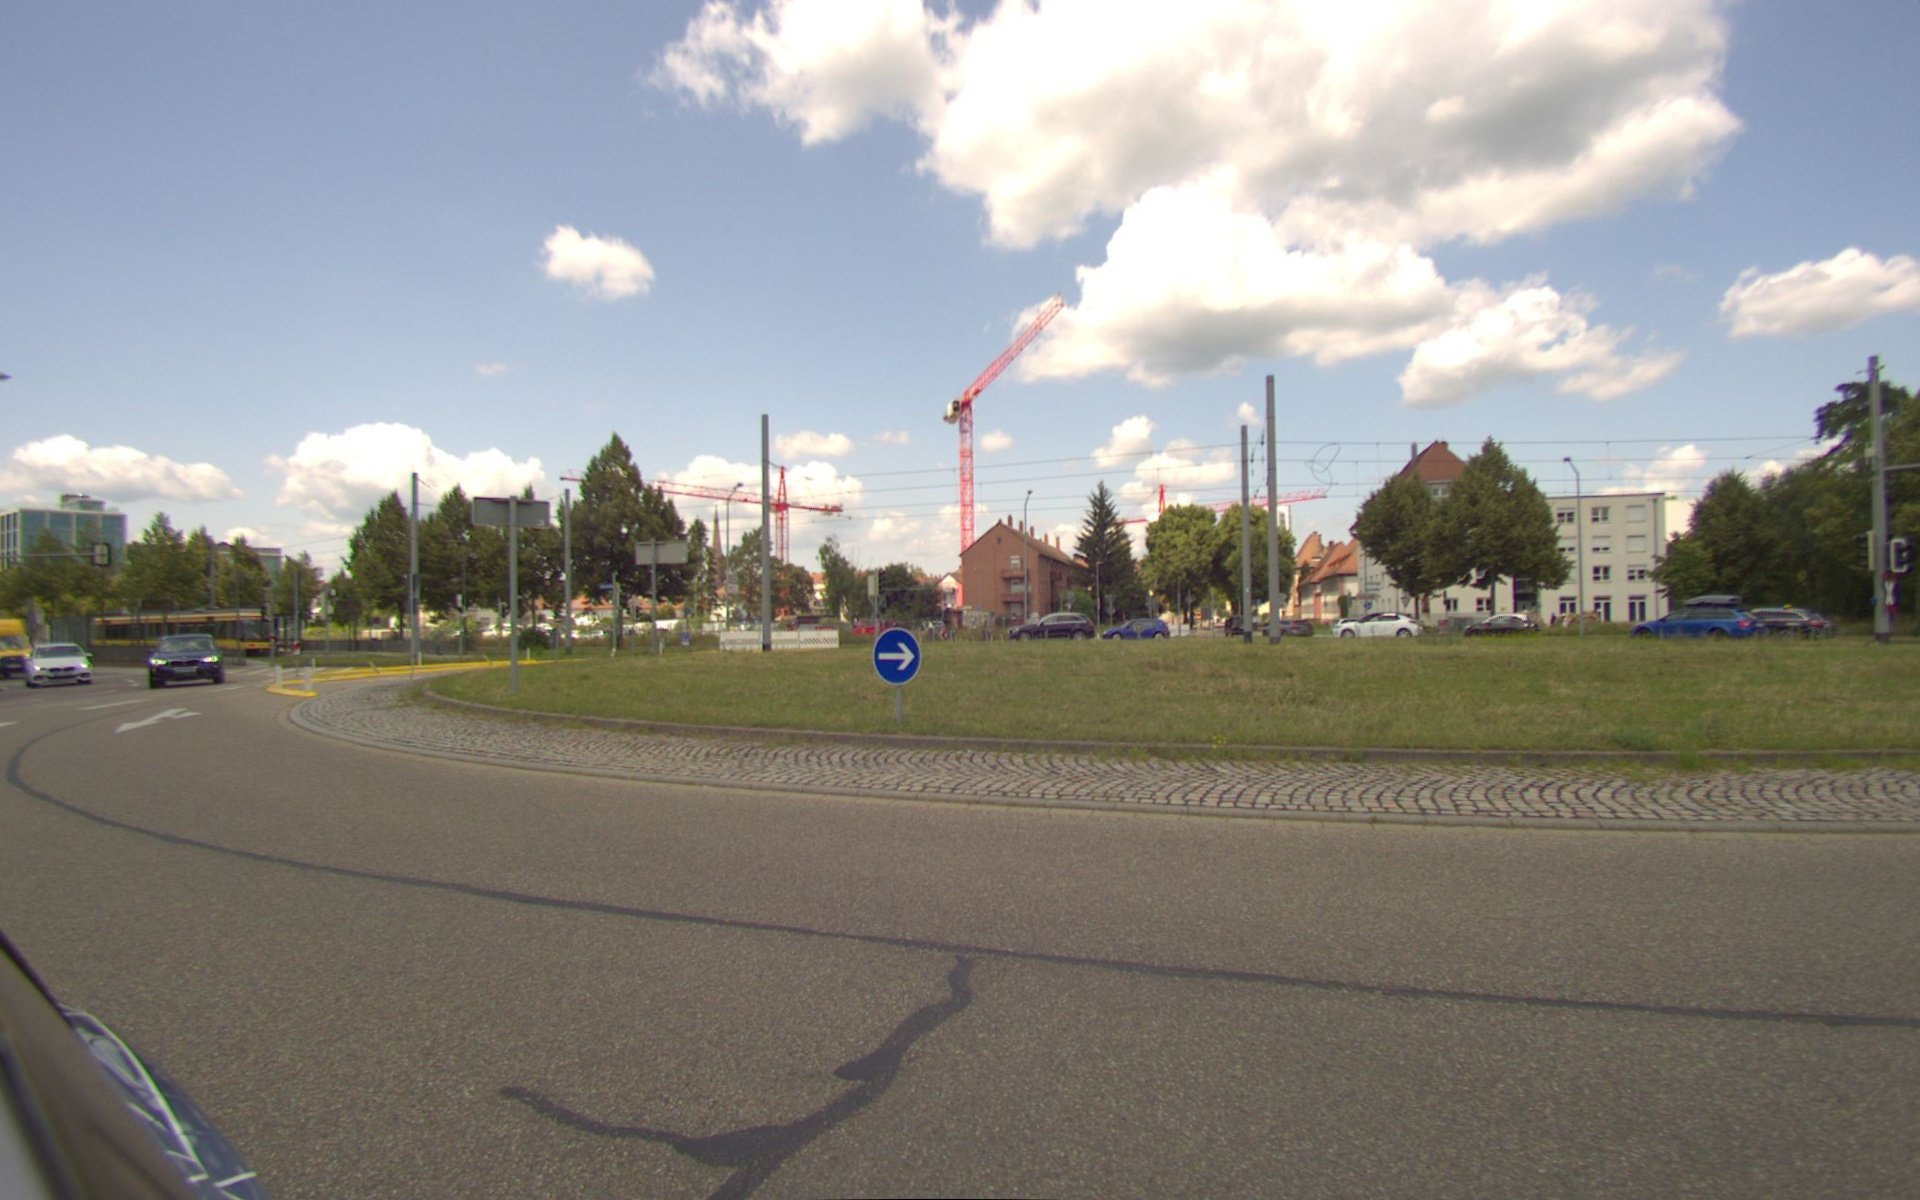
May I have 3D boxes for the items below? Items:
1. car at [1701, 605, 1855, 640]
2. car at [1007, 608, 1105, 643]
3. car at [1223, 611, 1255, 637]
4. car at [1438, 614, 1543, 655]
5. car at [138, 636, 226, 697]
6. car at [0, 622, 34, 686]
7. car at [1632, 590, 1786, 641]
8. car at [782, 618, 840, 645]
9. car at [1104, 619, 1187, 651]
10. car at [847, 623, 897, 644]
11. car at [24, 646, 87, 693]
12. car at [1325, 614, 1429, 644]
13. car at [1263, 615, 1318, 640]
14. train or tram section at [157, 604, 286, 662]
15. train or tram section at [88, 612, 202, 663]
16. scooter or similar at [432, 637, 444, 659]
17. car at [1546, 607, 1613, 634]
[{"bbox_3d":[33.592,0.967,41.712,1.920,1.333,4.505,-1,-2,-22],"label":"car"},{"bbox_3d":[5.038,1.334,53.252,5.008,1.687,1.996,-2,-2,6],"label":"car"},{"bbox_3d":[23.187,2.006,84.218,1.977,2.029,4.712,-2,-2,9],"label":"car"},{"bbox_3d":[28.228,1.844,54.039,4.696,2.029,1.984,-2,-2,24],"label":"car"},{"bbox_3d":[-24.557,2.031,31.896,1.749,1.610,4.131,-2,1,-44],"label":"car"},{"bbox_3d":[-46.772,2.570,48.497,7.242,2.875,2.257,-2,-1,37],"label":"car"},{"bbox_3d":[29.004,0.641,39.349,1.726,1.812,4.421,-1,-2,-30],"label":"car"},{"bbox_3d":[-13.028,2.729,87.853,2.354,2.214,6.857,0,-2,-33],"label":"car"},{"bbox_3d":[11.049,2.095,60.580,4.666,1.804,1.846,-2,-2,5],"label":"car"},{"bbox_3d":[-8.061,3.059,92.551,2.054,1.866,5.195,0,-2,-37],"label":"car"},{"bbox_3d":[-34.155,2.561,38.186,1.650,1.611,4.131,0,-1,-43],"label":"car"},{"bbox_3d":[20.227,1.436,49.152,4.306,1.339,1.974,-3,-2,38],"label":"car"},{"bbox_3d":[23.830,1.997,73.226,2.036,1.638,4.946,-3,-1,-3],"label":"car"},{"bbox_3d":[-51.936,2.398,70.939,13.438,3.768,2.819,-2,-2,34],"label":"train or tram section"},{"bbox_3d":[-63.584,2.961,78.702,14.622,3.666,2.665,-2,-2,34],"label":"train or tram section"},{"bbox_3d":[-32.156,2.961,62.326,0.412,1.312,1.349,0,1,-36],"label":"scooter or similar"},{"bbox_3d":[48.588,1.628,79.461,3.954,2.029,1.995,-2,-2,8],"label":"car"}]
